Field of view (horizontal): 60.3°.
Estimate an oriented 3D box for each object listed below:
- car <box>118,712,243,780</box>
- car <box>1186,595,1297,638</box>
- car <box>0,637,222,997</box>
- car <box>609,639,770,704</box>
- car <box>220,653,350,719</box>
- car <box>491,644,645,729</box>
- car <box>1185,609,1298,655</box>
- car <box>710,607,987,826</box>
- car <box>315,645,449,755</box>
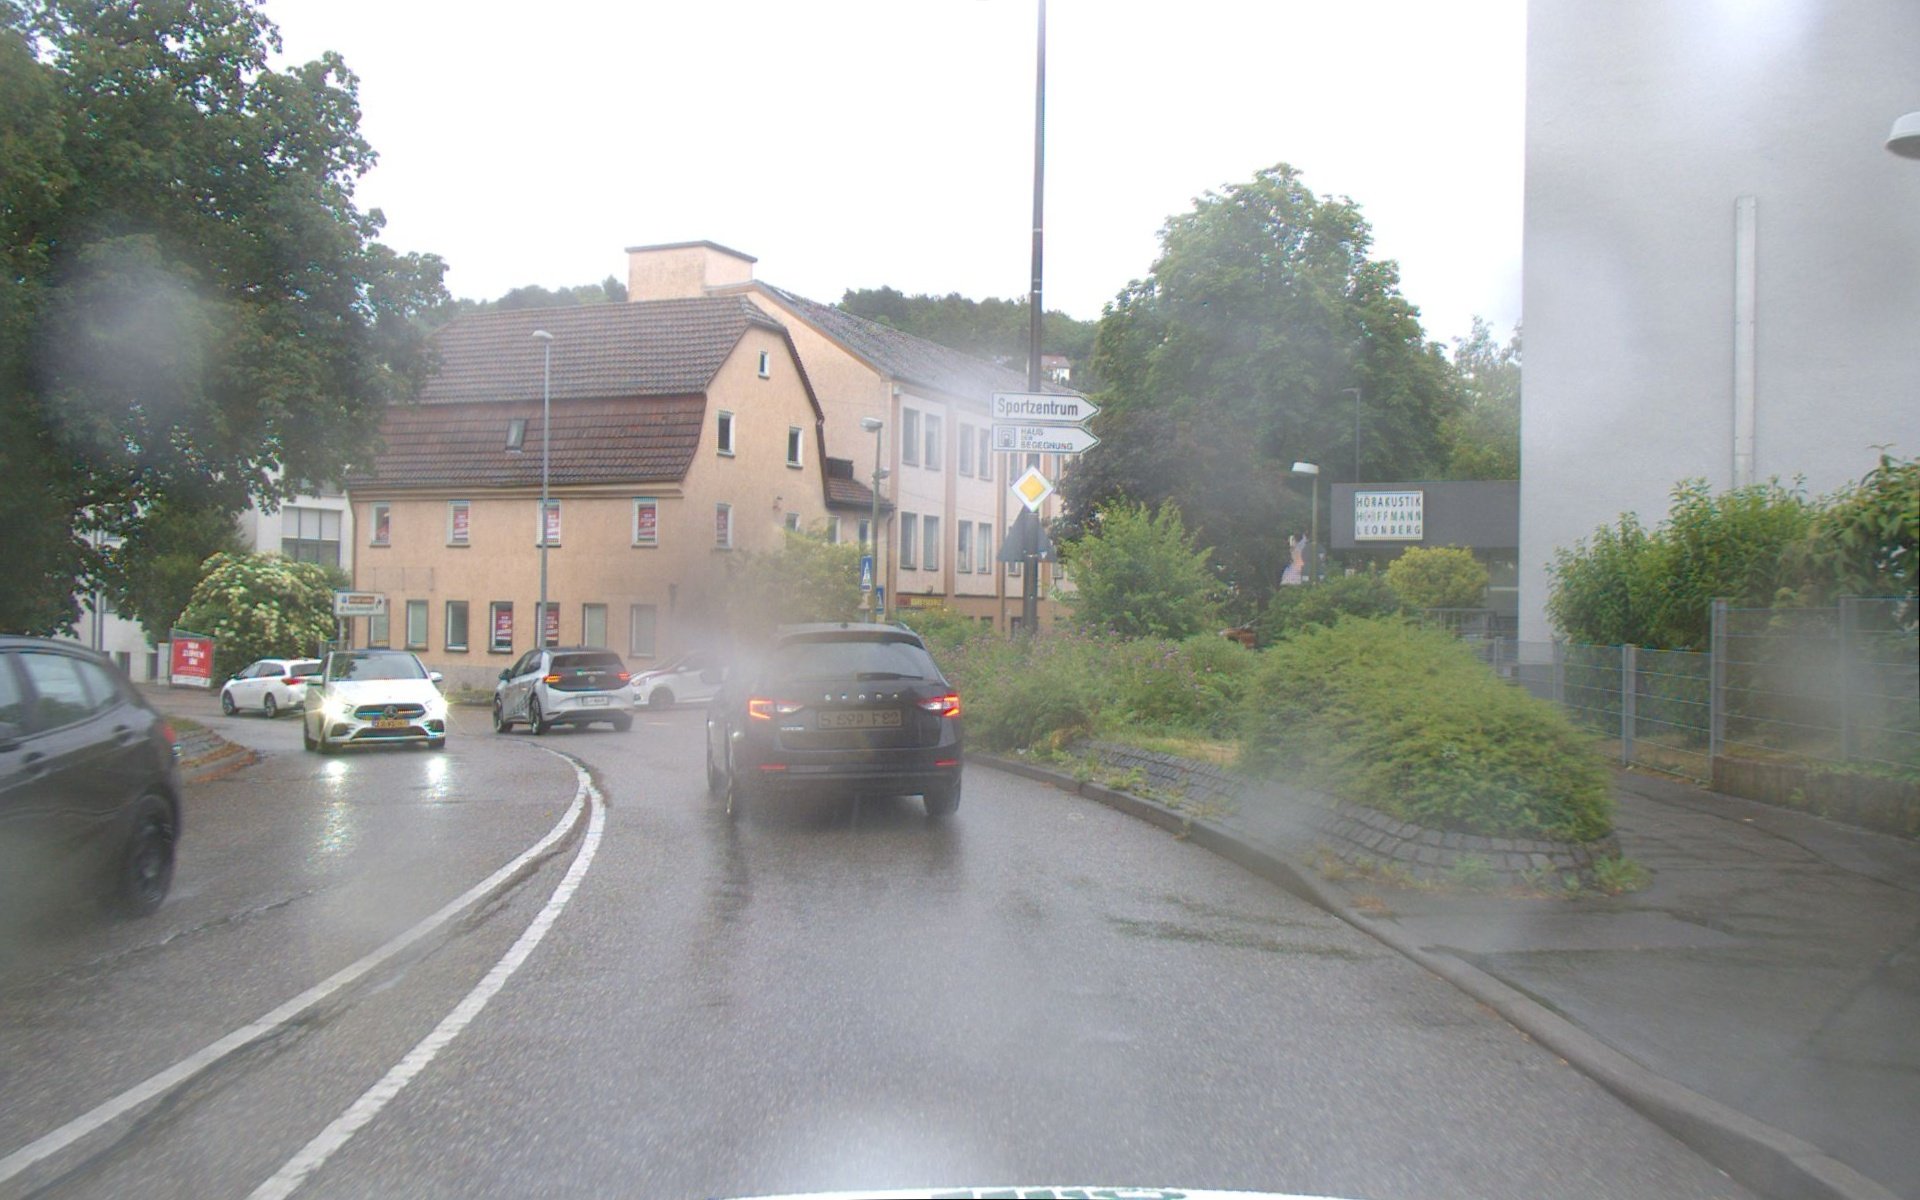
[{"bbox_3d":[-19.530,3.620,41.361,1.718,1.570,4.235,2,-4,-41],"label":"car"},{"bbox_3d":[11.290,0.668,66.307,4.310,1.600,1.720,-1,-1,11],"label":"car"},{"bbox_3d":[-4.769,0.889,7.090,1.702,1.435,4.049,0,-1,-6],"label":"car"},{"bbox_3d":[-6.902,1.794,42.188,3.707,1.478,1.697,-1,-1,-28],"label":"car"},{"bbox_3d":[-17.822,2.284,43.592,4.113,1.618,1.721,-4,-4,44],"label":"car"},{"bbox_3d":[-7.298,1.537,30.547,1.798,1.383,3.951,1,-1,-29],"label":"car"},{"bbox_3d":[10.444,1.183,61.453,3.814,1.600,1.718,-1,-1,25],"label":"car"},{"bbox_3d":[-1.086,0.874,13.694,1.750,1.509,4.233,0,-2,-11],"label":"car"},{"bbox_3d":[-9.103,1.497,25.863,1.700,1.531,4.227,0,-2,-23],"label":"car"}]
